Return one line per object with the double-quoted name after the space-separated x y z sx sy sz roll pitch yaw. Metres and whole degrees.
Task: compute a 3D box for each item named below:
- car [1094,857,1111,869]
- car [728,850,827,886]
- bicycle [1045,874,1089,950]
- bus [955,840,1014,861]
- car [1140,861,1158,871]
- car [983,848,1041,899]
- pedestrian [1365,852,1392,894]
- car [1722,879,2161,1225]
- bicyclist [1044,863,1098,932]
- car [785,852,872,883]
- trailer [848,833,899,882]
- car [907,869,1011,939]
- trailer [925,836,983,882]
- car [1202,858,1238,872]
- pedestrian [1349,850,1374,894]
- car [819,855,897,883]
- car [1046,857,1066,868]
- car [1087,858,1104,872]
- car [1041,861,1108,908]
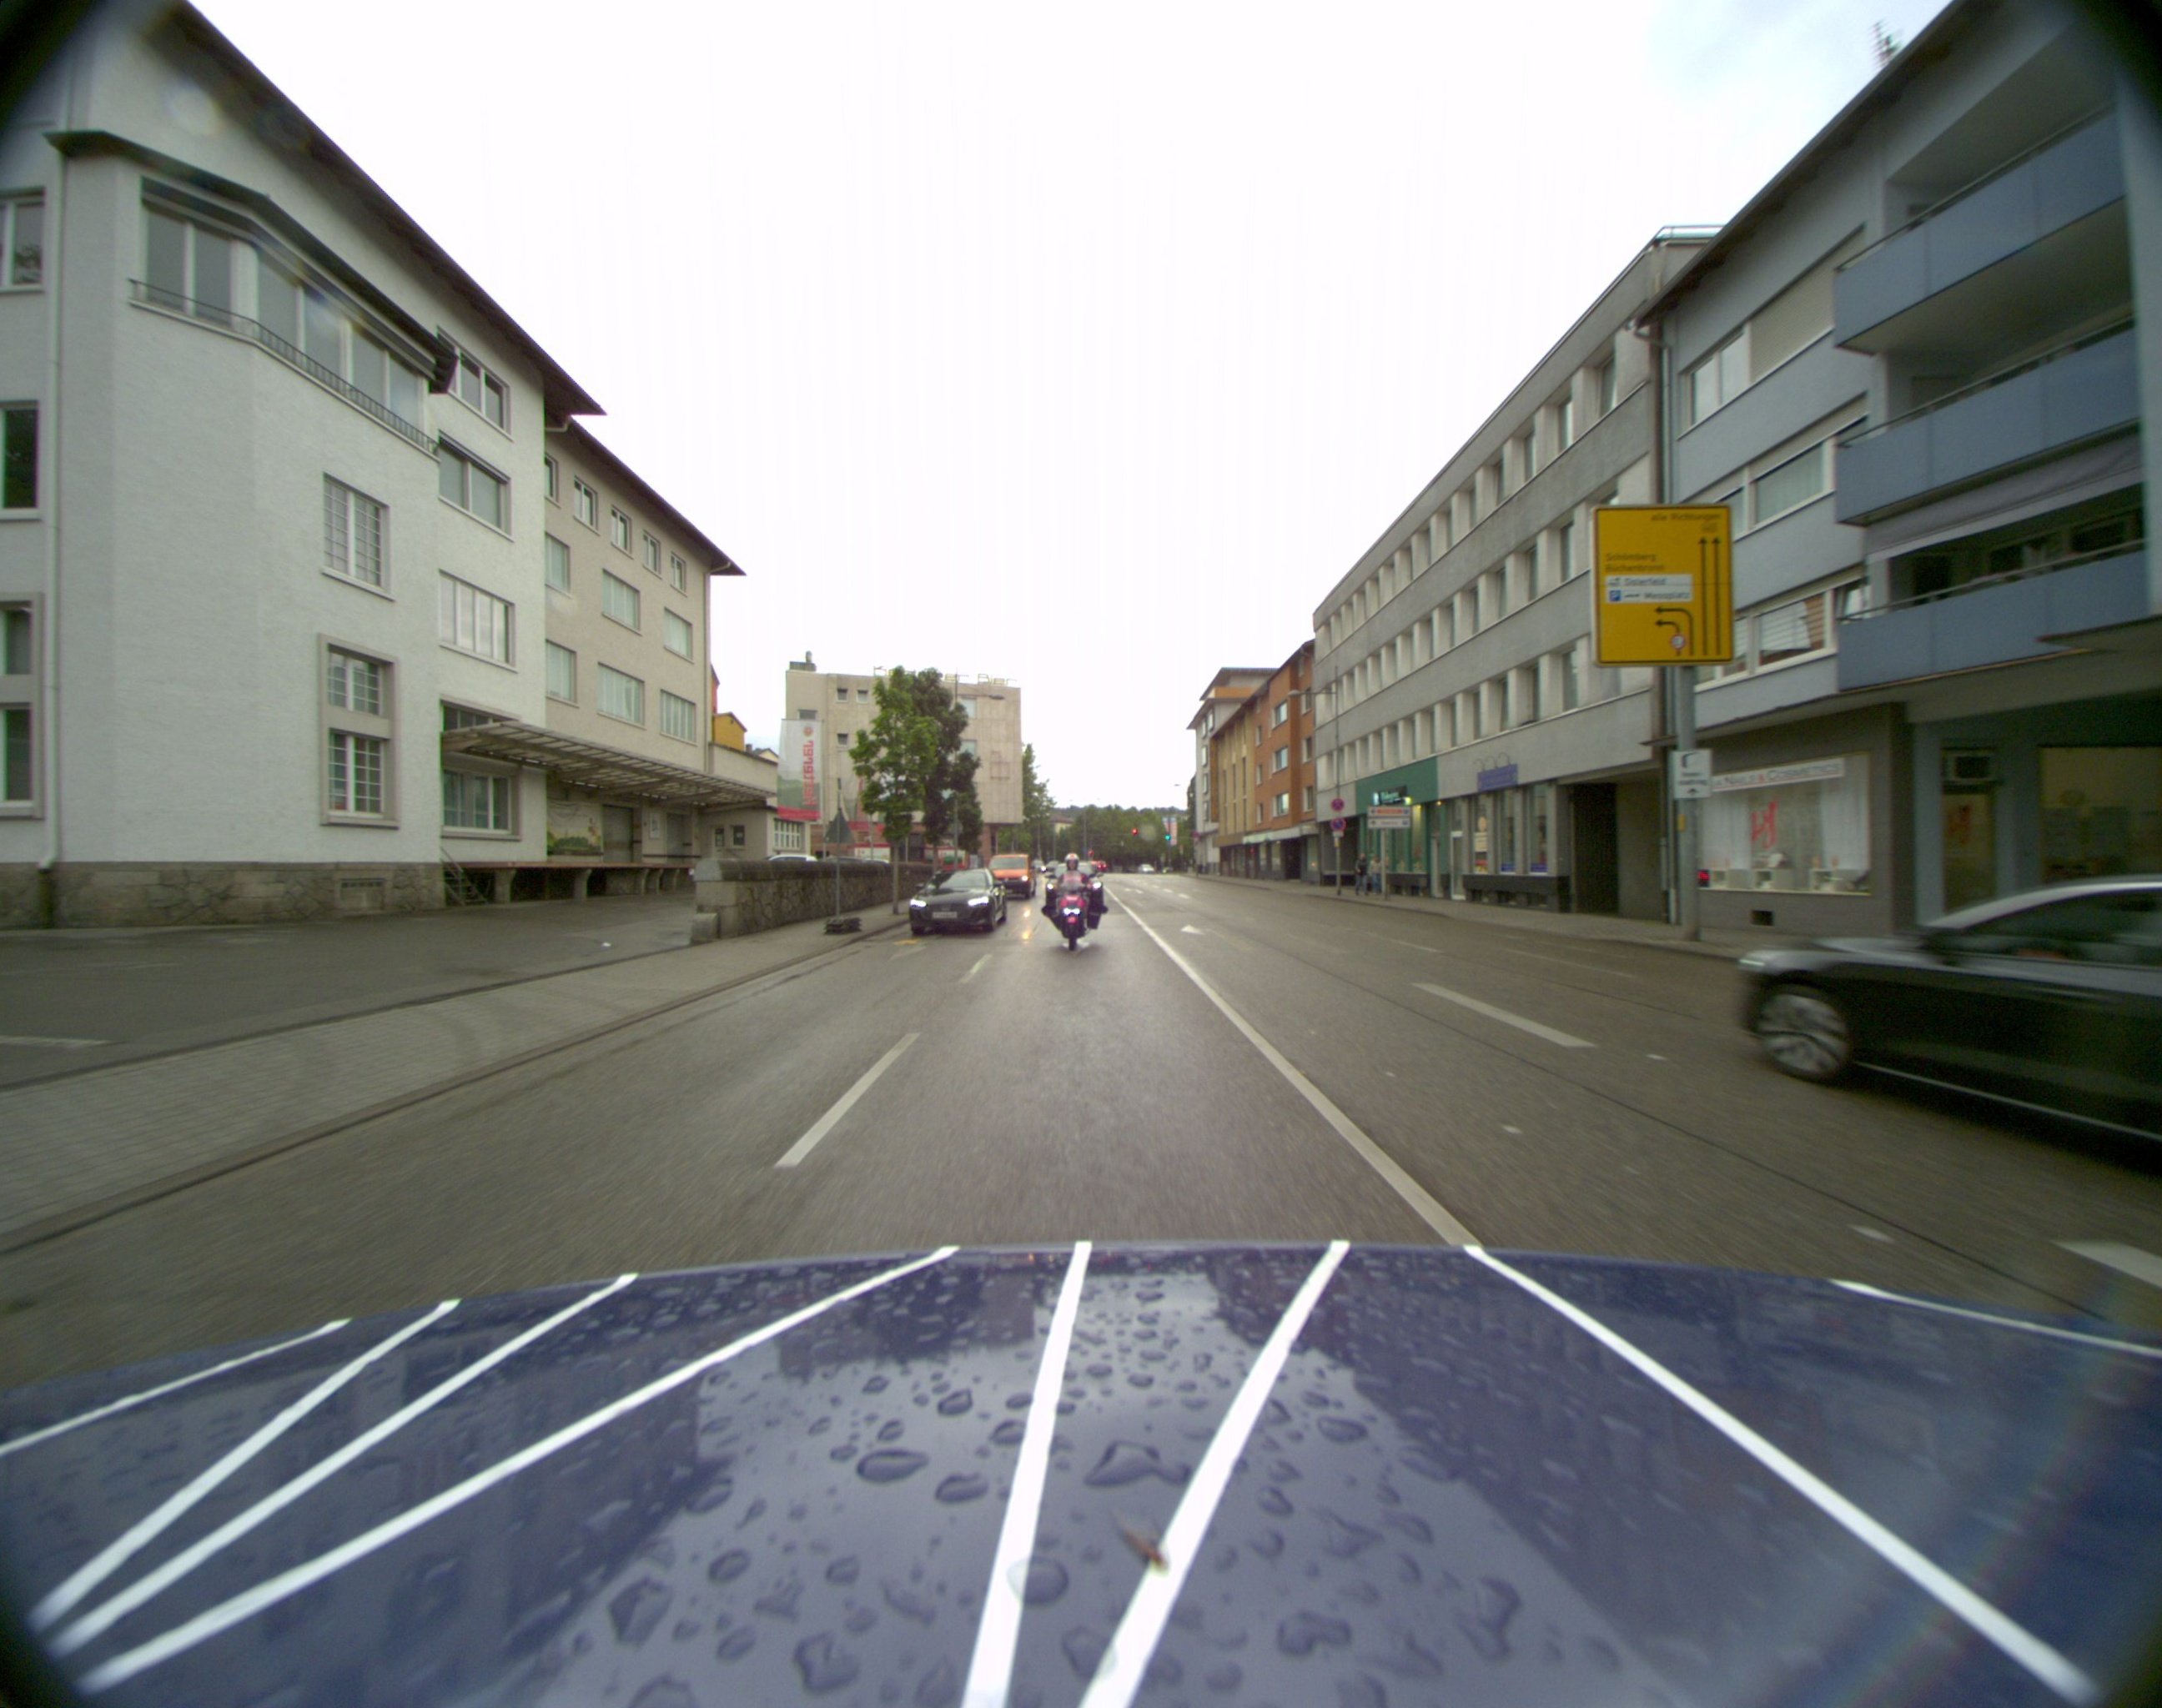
2.948 1.228 102.493 1.758 1.604 4.215 1 -1 9 "car"
-14.509 0.700 36.403 3.990 1.558 1.923 1 -4 -40 "car"
-0.245 1.080 14.958 0.717 1.298 2.428 -1 0 2 "bicycle"
-15.980 -0.578 125.856 9.633 3.197 2.710 1 -1 24 "bus"
10.848 1.873 121.691 1.898 1.566 4.358 1 -1 -9 "car"
-3.001 0.836 34.226 2.107 2.077 5.541 -1 0 -1 "car"
12.378 0.769 31.670 0.631 1.665 0.908 -5 0 -1 "pedestrian"
5.508 0.905 3.412 1.725 1.415 4.165 2 0 0 "car"
-0.171 0.786 14.032 0.963 1.219 0.715 -1 0 2 "bicyclist"
-13.459 0.751 40.570 4.008 1.573 1.767 1 -2 -36 "car"
-14.784 0.226 53.910 2.753 3.288 6.061 -1 0 -22 "trailer"
-2.844 1.122 18.670 1.794 1.394 4.633 -1 0 0 "car"
-9.452 0.345 56.018 2.640 3.158 5.704 0 0 -26 "trailer"
16.159 1.300 88.523 3.822 1.413 1.797 2 1 1 "car"
11.695 0.757 31.681 0.576 1.778 0.826 -5 0 1 "pedestrian"
-13.825 0.951 47.166 4.284 1.639 1.863 2 -2 -35 "car"
-3.674 1.210 111.110 1.894 1.479 4.366 1 -1 12 "car"
1.581 1.196 83.616 1.737 1.431 4.413 0 0 0 "car"
-0.132 1.027 27.306 1.895 1.396 4.362 -2 1 6 "car"
